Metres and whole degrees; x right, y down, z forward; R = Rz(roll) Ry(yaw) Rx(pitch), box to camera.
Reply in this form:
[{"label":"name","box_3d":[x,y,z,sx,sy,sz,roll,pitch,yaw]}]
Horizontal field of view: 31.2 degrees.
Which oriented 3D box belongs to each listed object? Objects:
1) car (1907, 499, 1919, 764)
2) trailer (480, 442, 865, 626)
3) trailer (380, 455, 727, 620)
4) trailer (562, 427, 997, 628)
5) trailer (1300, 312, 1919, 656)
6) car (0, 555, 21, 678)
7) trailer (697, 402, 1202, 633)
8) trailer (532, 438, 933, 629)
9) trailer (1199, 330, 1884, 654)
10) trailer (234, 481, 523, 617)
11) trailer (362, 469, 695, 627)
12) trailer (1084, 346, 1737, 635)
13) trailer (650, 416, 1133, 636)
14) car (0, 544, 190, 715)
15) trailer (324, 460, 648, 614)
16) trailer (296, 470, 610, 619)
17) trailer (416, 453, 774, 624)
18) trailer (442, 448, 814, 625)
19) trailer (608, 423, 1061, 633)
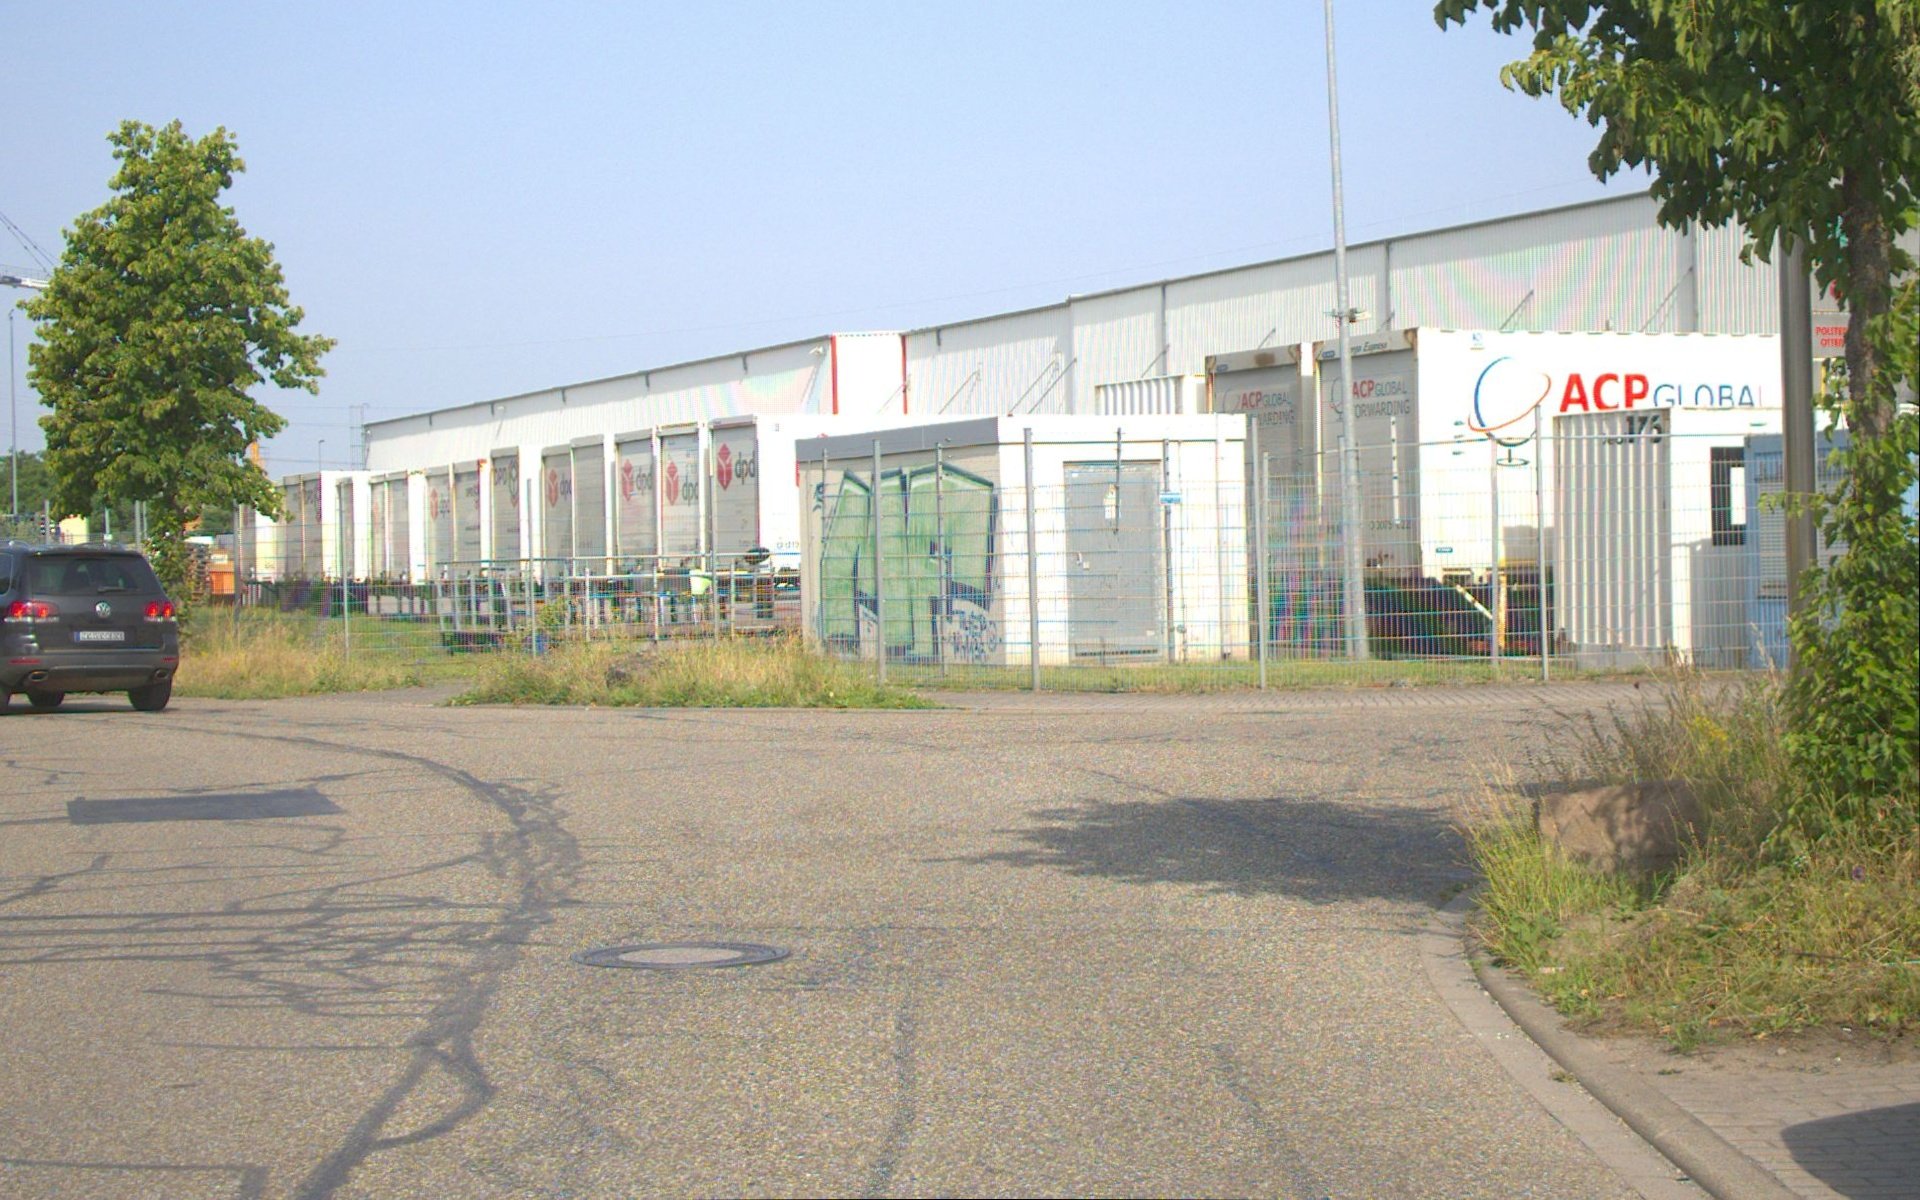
[{"label":"car","box_3d":[3.009,0.542,4.776,1.880,1.568,5.118,-3,1,0]},{"label":"trailer","box_3d":[-6.346,-1.418,76.045,7.960,3.880,2.776,0,1,-24]},{"label":"trailer","box_3d":[-9.979,-1.510,84.573,7.960,3.880,2.776,0,1,-24]},{"label":"trailer","box_3d":[-3.630,-1.416,69.654,8.305,3.880,2.776,0,1,-24]},{"label":"trailer","box_3d":[8.673,-1.393,42.056,8.534,3.881,2.776,-1,-2,-22]},{"label":"car","box_3d":[-14.700,0.269,46.717,1.800,1.620,4.446,-4,3,-43]},{"label":"trailer","box_3d":[-0.151,-1.398,61.096,8.534,3.880,2.776,0,1,-24]},{"label":"trailer","box_3d":[-4.843,-1.380,73.447,8.031,3.880,2.776,0,1,-24]},{"label":"trailer","box_3d":[7.632,-1.449,44.876,8.534,3.880,2.776,-2,1,-22]},{"label":"trailer","box_3d":[-17.226,-1.486,101.957,7.960,3.880,2.743,0,1,-24]},{"label":"trailer","box_3d":[-11.030,-1.301,87.970,7.960,3.880,2.776,0,1,-24]},{"label":"trailer","box_3d":[6.279,-1.474,47.600,8.730,3.748,2.791,-1,0,-24]},{"label":"trailer","box_3d":[-1.238,-1.320,63.978,8.534,3.880,2.776,0,1,-24]},{"label":"car","box_3d":[-9.463,0.289,34.722,1.881,1.581,4.113,-2,1,-34]},{"label":"trailer","box_3d":[-12.483,-1.616,90.623,7.960,3.880,2.776,0,1,-24]},{"label":"trailer","box_3d":[-13.788,-1.477,93.668,7.960,3.880,2.776,0,1,-24]},{"label":"trailer","box_3d":[-8.666,-1.423,81.817,7.960,3.880,2.776,0,1,-24]},{"label":"trailer","box_3d":[-7.588,-1.410,78.798,7.960,3.880,2.776,0,1,-24]},{"label":"trailer","box_3d":[-2.412,-1.346,66.843,8.305,3.880,2.776,0,1,-24]}]
